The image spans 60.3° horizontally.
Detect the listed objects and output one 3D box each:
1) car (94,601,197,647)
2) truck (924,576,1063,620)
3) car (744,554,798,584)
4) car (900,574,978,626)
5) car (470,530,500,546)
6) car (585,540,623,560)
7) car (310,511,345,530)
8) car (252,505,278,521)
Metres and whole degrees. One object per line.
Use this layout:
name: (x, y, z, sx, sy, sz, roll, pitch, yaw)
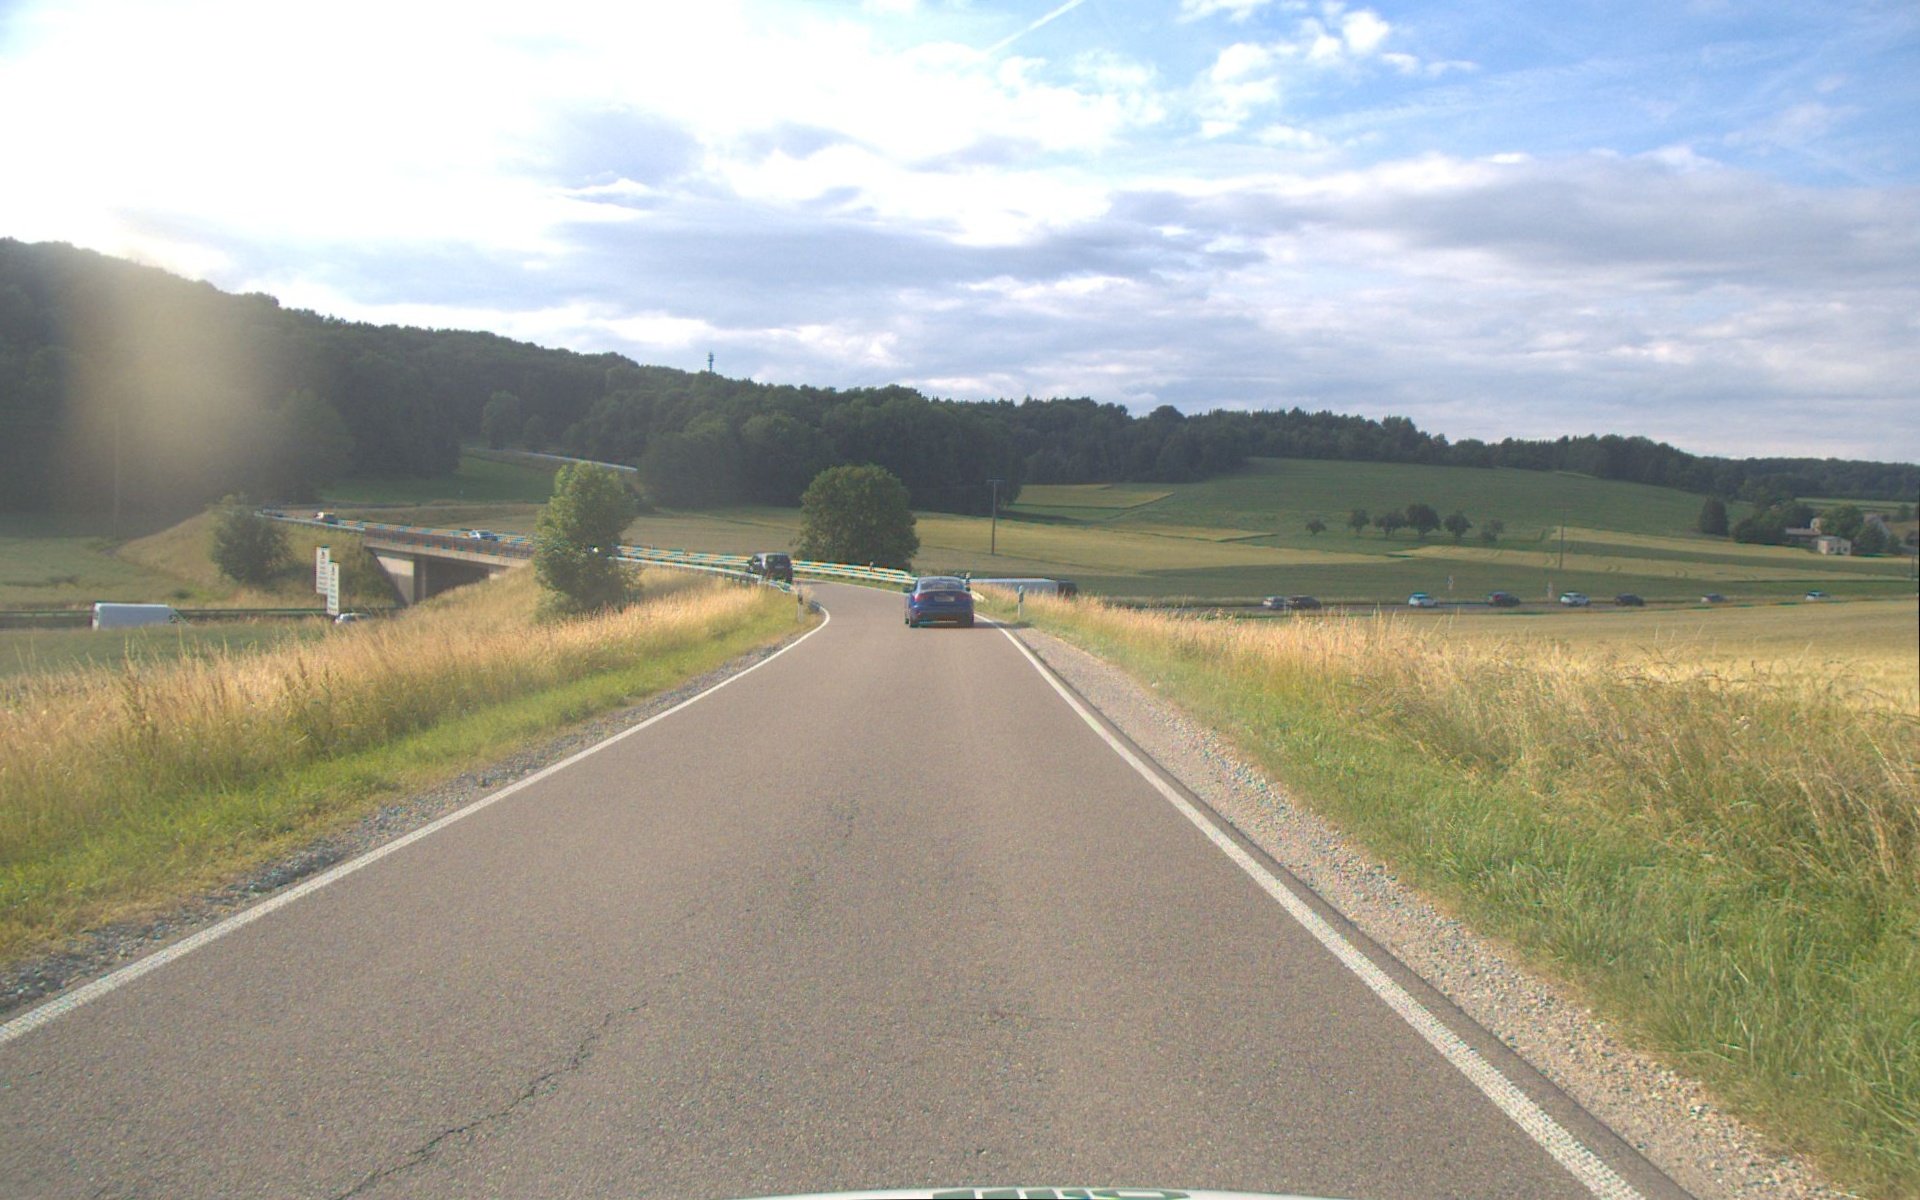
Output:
car: (-56.767, 1.641, 115.294, 6.071, 2.627, 2.340, -3, 10, -42)
truck: (3.407, -0.274, 161.718, 14.271, 4.066, 4.026, -1, 0, -37)
car: (-10.305, -1.700, 89.950, 1.838, 1.596, 3.970, -1, 1, -24)
car: (-0.636, -0.041, 46.872, 1.783, 1.362, 4.345, -1, 1, -6)
car: (-39.191, -5.142, 136.481, 1.458, 1.248, 3.262, 0, 2, -33)
car: (-25.473, -3.588, 118.274, 1.663, 1.400, 3.965, 0, 2, -27)
car: (-65.085, -8.195, 170.083, 1.983, 1.708, 4.116, 3, 2, -41)
car: (-81.579, -10.221, 194.024, 1.977, 1.802, 3.952, -4, 5, -34)
